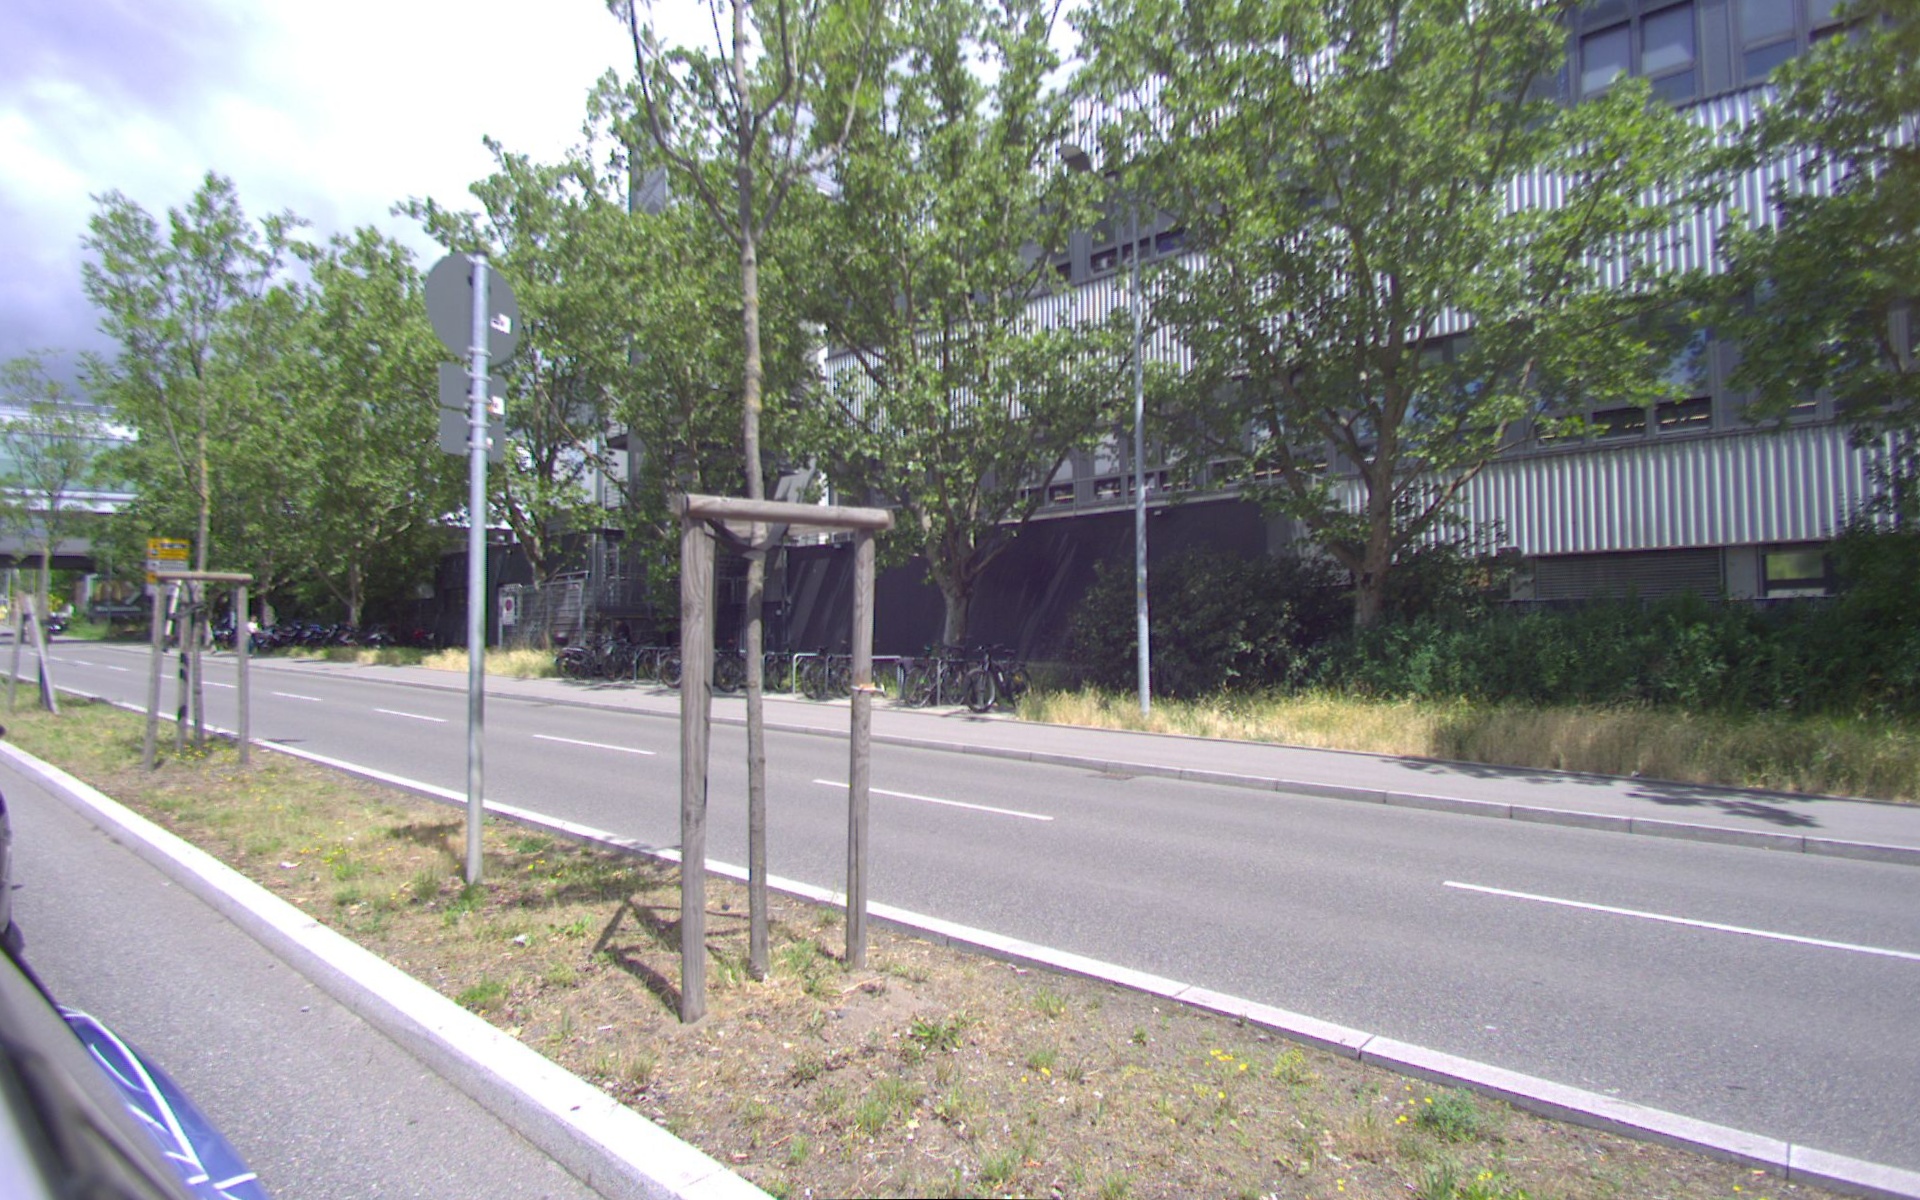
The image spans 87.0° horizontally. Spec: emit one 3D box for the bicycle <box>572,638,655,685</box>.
[{"bbox_3d":[-8.909,1.568,26.082,0.382,1.119,2.101,-2,-1,43],"label":"bicycle"}]

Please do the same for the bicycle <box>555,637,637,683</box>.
[{"bbox_3d":[-9.550,1.549,26.628,0.382,1.119,2.101,-2,-1,43],"label":"bicycle"}]

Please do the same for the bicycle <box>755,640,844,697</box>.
[{"bbox_3d":[-3.416,1.454,21.747,0.382,1.119,2.101,-2,-1,43],"label":"bicycle"}]

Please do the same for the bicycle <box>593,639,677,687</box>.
[{"bbox_3d":[-8.165,1.564,25.534,0.382,1.119,2.101,-2,-1,43],"label":"bicycle"}]

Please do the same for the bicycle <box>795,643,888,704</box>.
[{"bbox_3d":[-2.344,1.433,20.225,0.382,1.104,2.101,-2,-1,43],"label":"bicycle"}]

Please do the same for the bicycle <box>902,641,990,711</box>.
[{"bbox_3d":[-0.223,1.333,18.117,0.381,1.137,1.968,-2,-1,39],"label":"bicycle"}]

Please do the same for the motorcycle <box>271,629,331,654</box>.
[{"bbox_3d":[-28.058,1.757,43.120,0.534,0.976,2.105,-2,-1,41],"label":"motorcycle"}]

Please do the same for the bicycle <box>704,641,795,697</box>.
[{"bbox_3d":[-4.547,1.477,22.013,0.382,1.119,2.101,-2,-1,43],"label":"bicycle"}]

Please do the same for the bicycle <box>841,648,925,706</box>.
[{"bbox_3d":[-1.473,1.474,19.704,0.381,1.005,1.968,-2,-1,39],"label":"bicycle"}]

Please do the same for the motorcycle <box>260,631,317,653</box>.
[{"bbox_3d":[-30.542,1.904,46.048,0.534,0.976,2.105,-2,-1,41],"label":"motorcycle"}]

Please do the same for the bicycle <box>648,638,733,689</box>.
[{"bbox_3d":[-6.485,1.509,24.410,0.382,1.119,2.101,-2,-1,43],"label":"bicycle"}]

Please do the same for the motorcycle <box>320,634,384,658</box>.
[{"bbox_3d":[-23.930,1.795,39.837,0.534,0.905,2.105,-2,-1,41],"label":"motorcycle"}]

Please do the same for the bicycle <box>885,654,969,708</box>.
[{"bbox_3d":[-0.601,1.518,19.218,0.381,0.897,1.968,-2,-1,39],"label":"bicycle"}]

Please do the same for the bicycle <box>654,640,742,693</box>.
[{"bbox_3d":[-5.994,1.498,23.260,0.382,1.119,2.101,-2,-1,43],"label":"bicycle"}]

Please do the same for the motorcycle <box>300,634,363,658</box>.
[{"bbox_3d":[-25.461,1.853,41.002,0.534,0.892,2.105,-2,-1,41],"label":"motorcycle"}]

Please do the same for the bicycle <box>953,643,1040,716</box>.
[{"bbox_3d":[0.656,1.337,17.395,0.381,1.137,1.968,-2,-1,39],"label":"bicycle"}]

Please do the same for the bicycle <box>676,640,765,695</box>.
[{"bbox_3d":[-5.337,1.486,22.664,0.382,1.119,2.101,-2,-1,43],"label":"bicycle"}]

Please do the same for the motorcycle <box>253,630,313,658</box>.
[{"bbox_3d":[-29.391,1.908,43.952,0.534,1.146,2.105,-2,-1,41],"label":"motorcycle"}]

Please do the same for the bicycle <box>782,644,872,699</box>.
[{"bbox_3d":[-2.747,1.477,21.133,0.382,1.038,2.101,-2,-1,43],"label":"bicycle"}]

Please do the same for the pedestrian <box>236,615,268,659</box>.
[{"bbox_3d":[-28.169,1.477,40.293,0.672,1.734,0.888,-2,-2,41],"label":"pedestrian"}]
